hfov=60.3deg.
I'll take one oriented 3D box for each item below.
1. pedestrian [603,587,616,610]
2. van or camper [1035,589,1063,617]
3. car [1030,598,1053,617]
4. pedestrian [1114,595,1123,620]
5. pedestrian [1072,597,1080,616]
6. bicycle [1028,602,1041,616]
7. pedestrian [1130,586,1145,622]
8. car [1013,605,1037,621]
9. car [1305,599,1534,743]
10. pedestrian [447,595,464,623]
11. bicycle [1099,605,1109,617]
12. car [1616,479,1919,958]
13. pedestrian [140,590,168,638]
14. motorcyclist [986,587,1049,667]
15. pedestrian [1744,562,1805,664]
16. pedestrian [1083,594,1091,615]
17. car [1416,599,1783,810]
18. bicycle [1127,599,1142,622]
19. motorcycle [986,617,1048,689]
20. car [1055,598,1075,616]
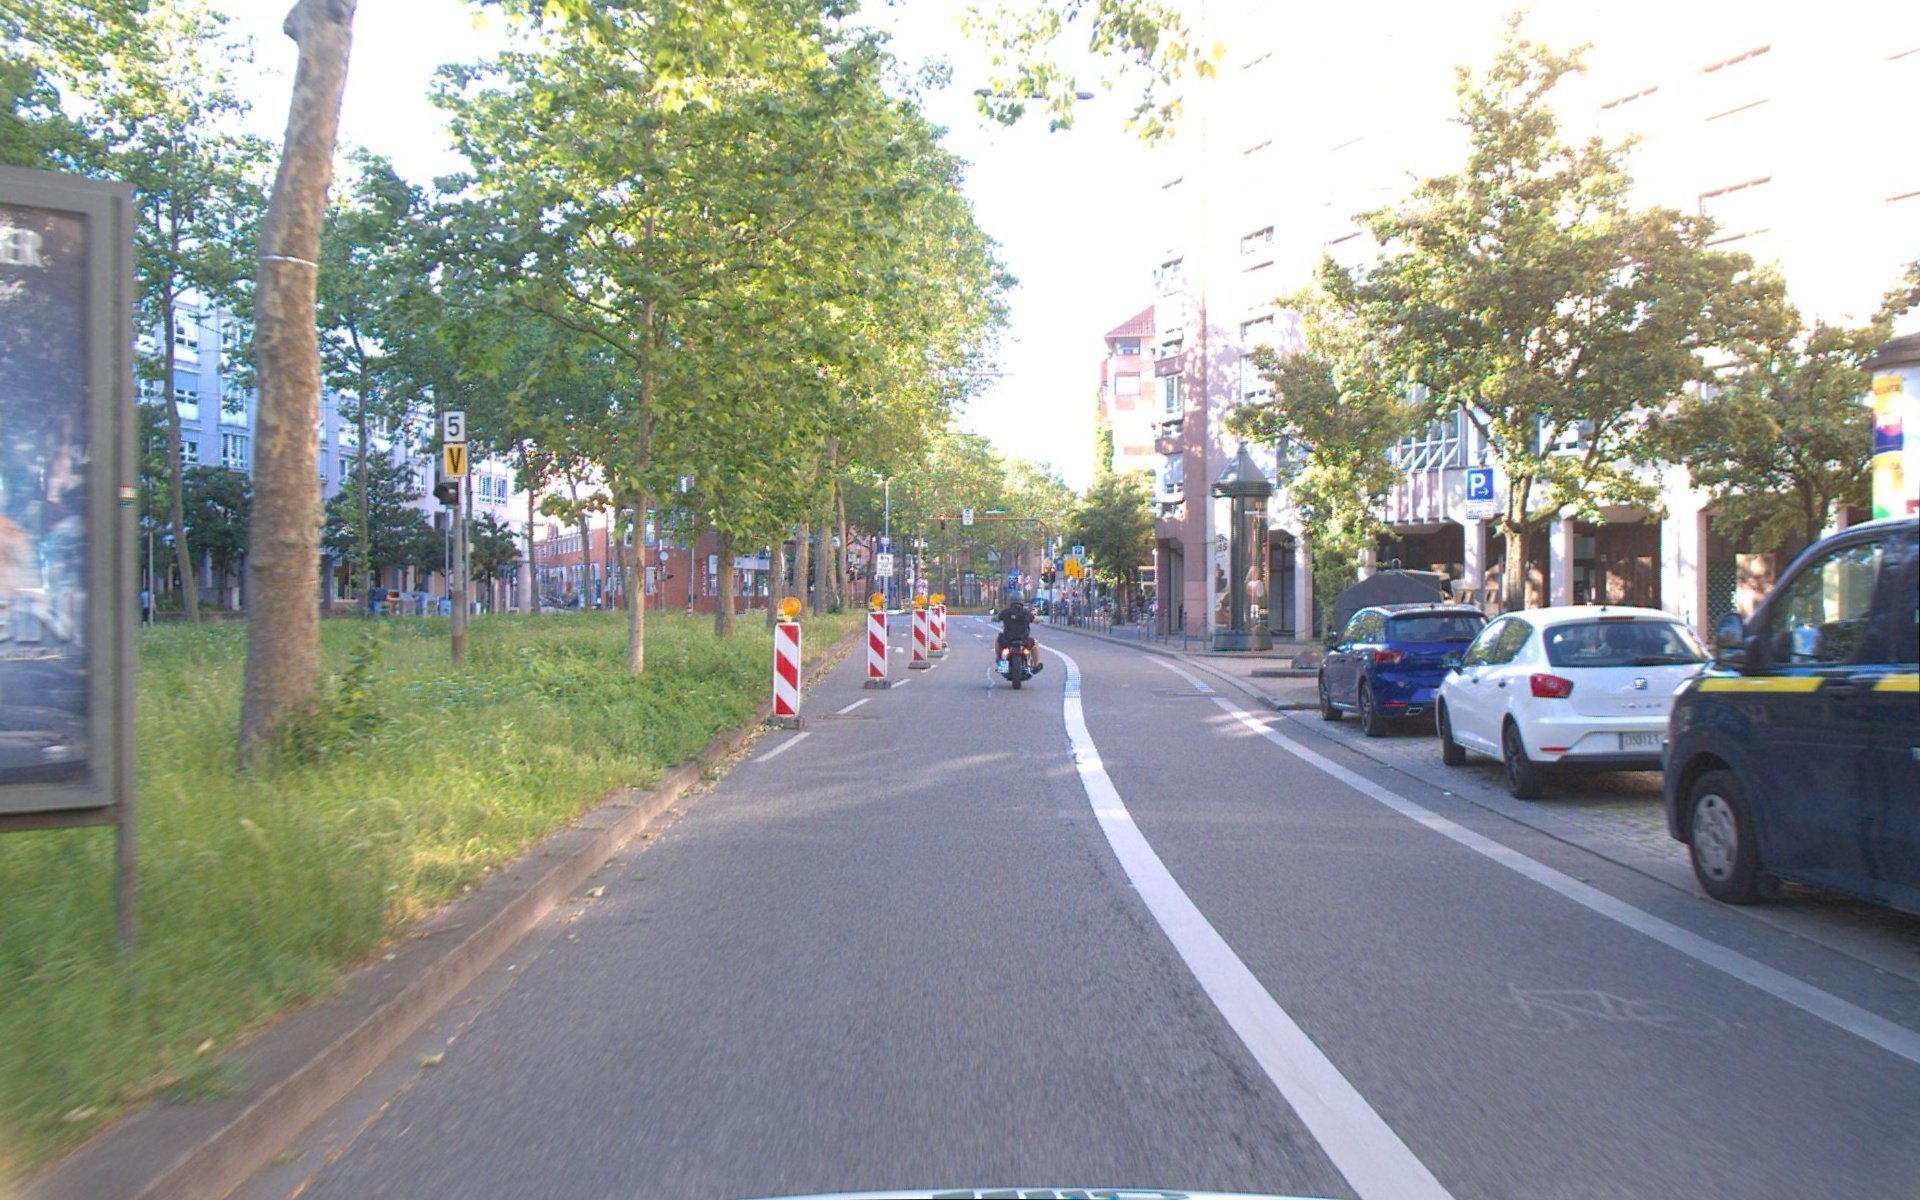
[{"bbox_3d":[-28.730,-0.098,135.392,0.837,1.902,0.752,0,0,7],"label":"pedestrian"},{"bbox_3d":[8.301,0.255,154.385,2.005,2.585,5.777,0,0,9],"label":"van or camper"},{"bbox_3d":[7.281,0.643,147.798,1.585,1.648,4.489,0,0,8],"label":"car"},{"bbox_3d":[10.685,0.515,111.340,0.450,1.702,0.679,0,0,-6],"label":"pedestrian"},{"bbox_3d":[9.943,0.523,141.637,0.631,1.606,0.748,0,0,3],"label":"pedestrian"},{"bbox_3d":[5.874,0.723,130.777,0.723,1.071,1.748,0,0,-10],"label":"bicycle"},{"bbox_3d":[8.938,0.195,83.297,0.764,1.769,0.837,0,0,8],"label":"pedestrian"},{"bbox_3d":[5.447,1.065,138.090,1.585,1.325,4.315,0,0,7],"label":"car"},{"bbox_3d":[5.380,0.761,19.895,1.666,1.509,4.249,-1,0,2],"label":"car"},{"bbox_3d":[-30.338,0.520,99.434,0.692,1.667,0.789,0,0,10],"label":"pedestrian"},{"bbox_3d":[11.315,0.875,130.118,0.721,0.956,1.753,0,0,3],"label":"bicycle"},{"bbox_3d":[4.937,0.459,7.044,1.997,1.977,5.195,-2,0,-2],"label":"car"},{"bbox_3d":[-29.863,0.503,61.277,0.713,1.770,0.648,0,0,2],"label":"pedestrian"},{"bbox_3d":[0.971,0.443,27.727,0.991,1.285,0.774,2,0,2],"label":"motorcyclist"},{"bbox_3d":[16.295,0.249,33.110,0.799,2.016,0.848,0,0,-2],"label":"pedestrian"},{"bbox_3d":[10.884,0.397,141.579,0.685,1.764,0.768,0,0,3],"label":"pedestrian"},{"bbox_3d":[5.213,0.760,14.092,1.666,1.491,4.177,-1,0,3],"label":"car"},{"bbox_3d":[9.558,0.556,90.618,0.608,1.247,1.928,0,0,11],"label":"bicycle"},{"bbox_3d":[0.947,0.861,27.568,0.997,1.116,2.008,0,0,2],"label":"motorcycle"},{"bbox_3d":[10.947,0.737,171.885,1.585,1.898,3.777,0,0,12],"label":"car"}]
